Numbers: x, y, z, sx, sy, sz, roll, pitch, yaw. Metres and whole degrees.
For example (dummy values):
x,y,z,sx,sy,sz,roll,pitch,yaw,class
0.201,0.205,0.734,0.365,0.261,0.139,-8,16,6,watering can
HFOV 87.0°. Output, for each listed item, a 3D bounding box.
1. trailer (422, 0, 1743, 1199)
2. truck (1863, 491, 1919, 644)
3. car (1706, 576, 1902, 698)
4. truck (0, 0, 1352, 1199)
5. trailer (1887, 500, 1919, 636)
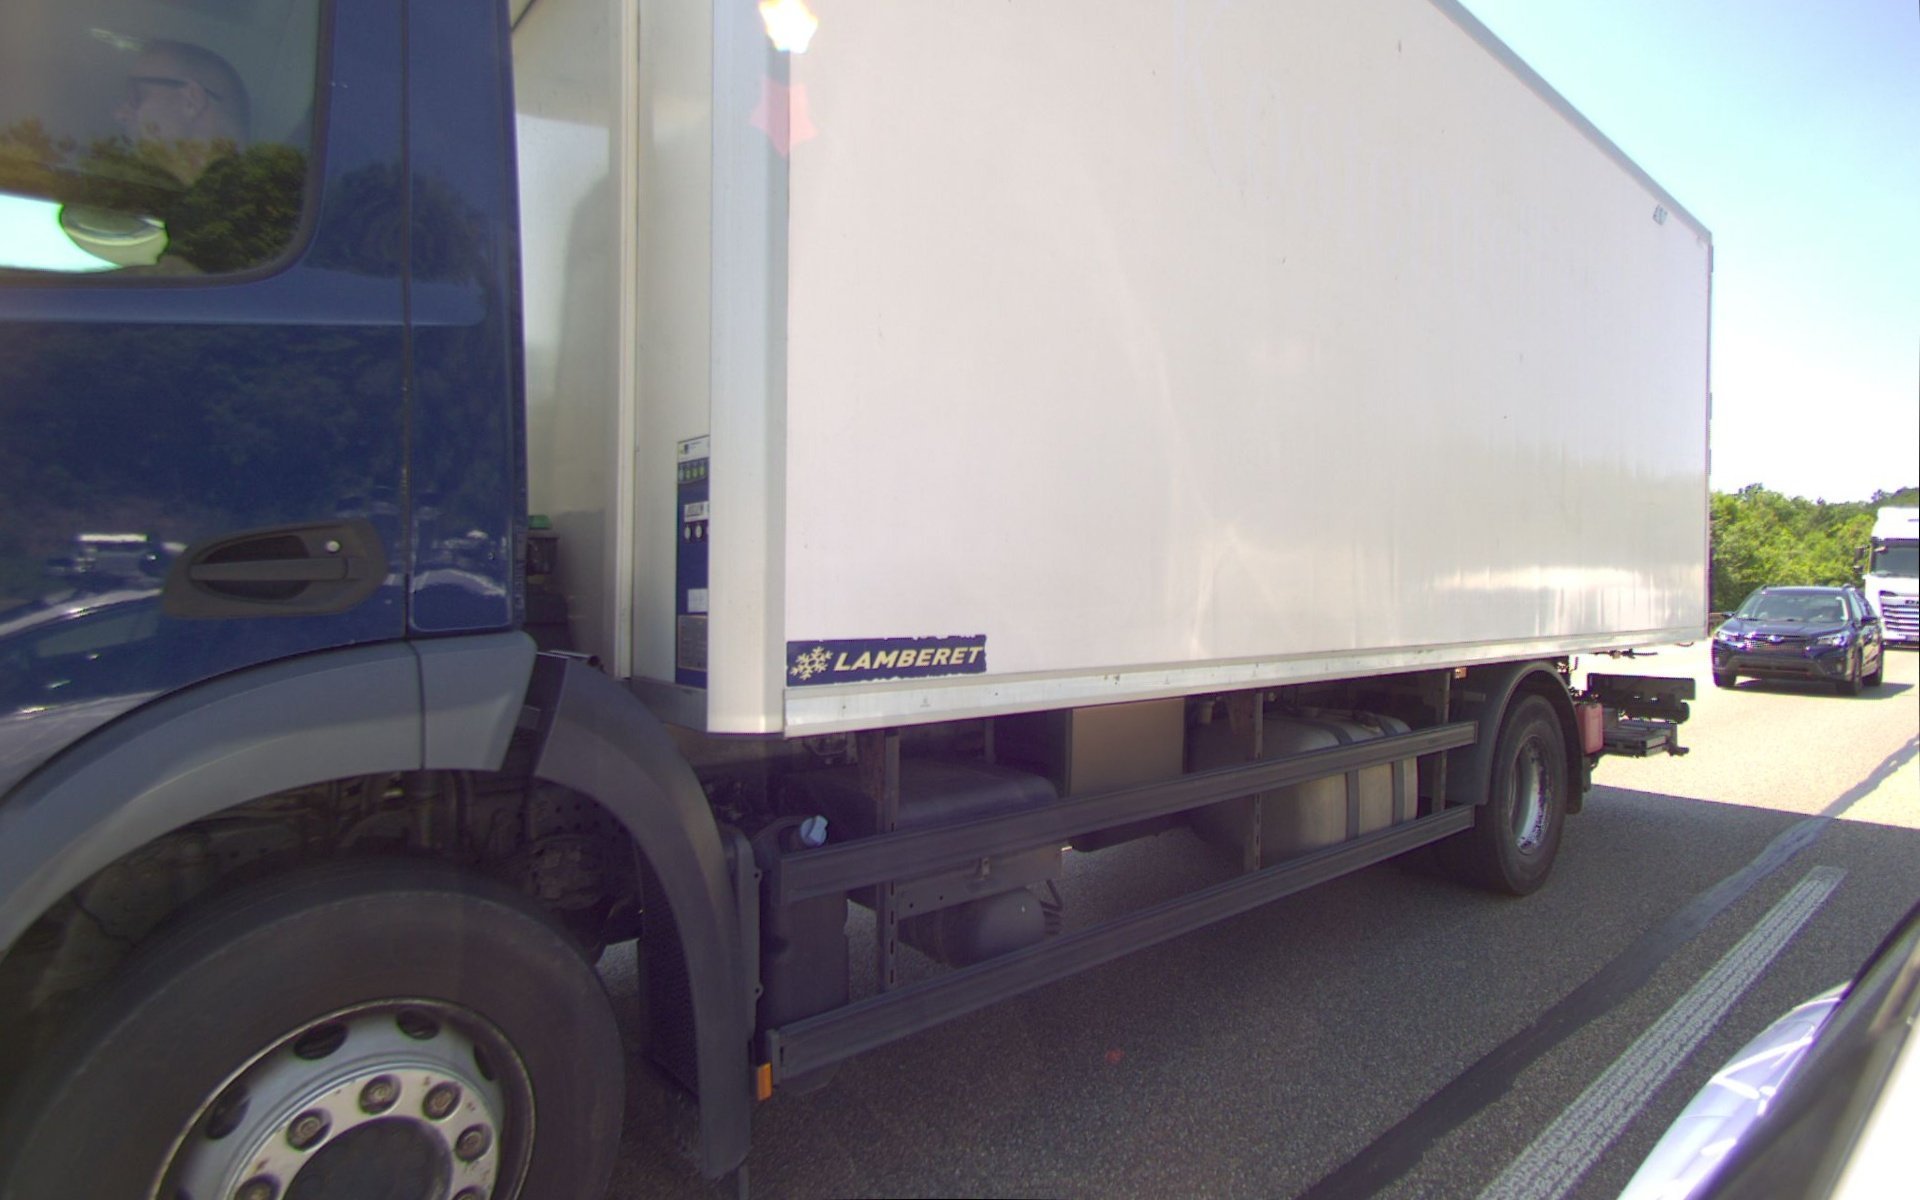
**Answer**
x,y,z,sx,sy,sz,roll,pitch,yaw,class
1.715,-0.158,5.409,7.746,2.935,2.559,0,0,-42,trailer
28.805,-0.954,29.544,7.206,4.135,2.765,-1,1,-41,truck
14.185,0.476,16.914,4.535,1.713,1.996,-1,3,-44,car
-1.127,-0.106,2.892,4.032,2.977,2.561,-1,2,-40,truck
33.841,-1.041,33.946,11.417,4.134,2.765,-1,3,-41,trailer
